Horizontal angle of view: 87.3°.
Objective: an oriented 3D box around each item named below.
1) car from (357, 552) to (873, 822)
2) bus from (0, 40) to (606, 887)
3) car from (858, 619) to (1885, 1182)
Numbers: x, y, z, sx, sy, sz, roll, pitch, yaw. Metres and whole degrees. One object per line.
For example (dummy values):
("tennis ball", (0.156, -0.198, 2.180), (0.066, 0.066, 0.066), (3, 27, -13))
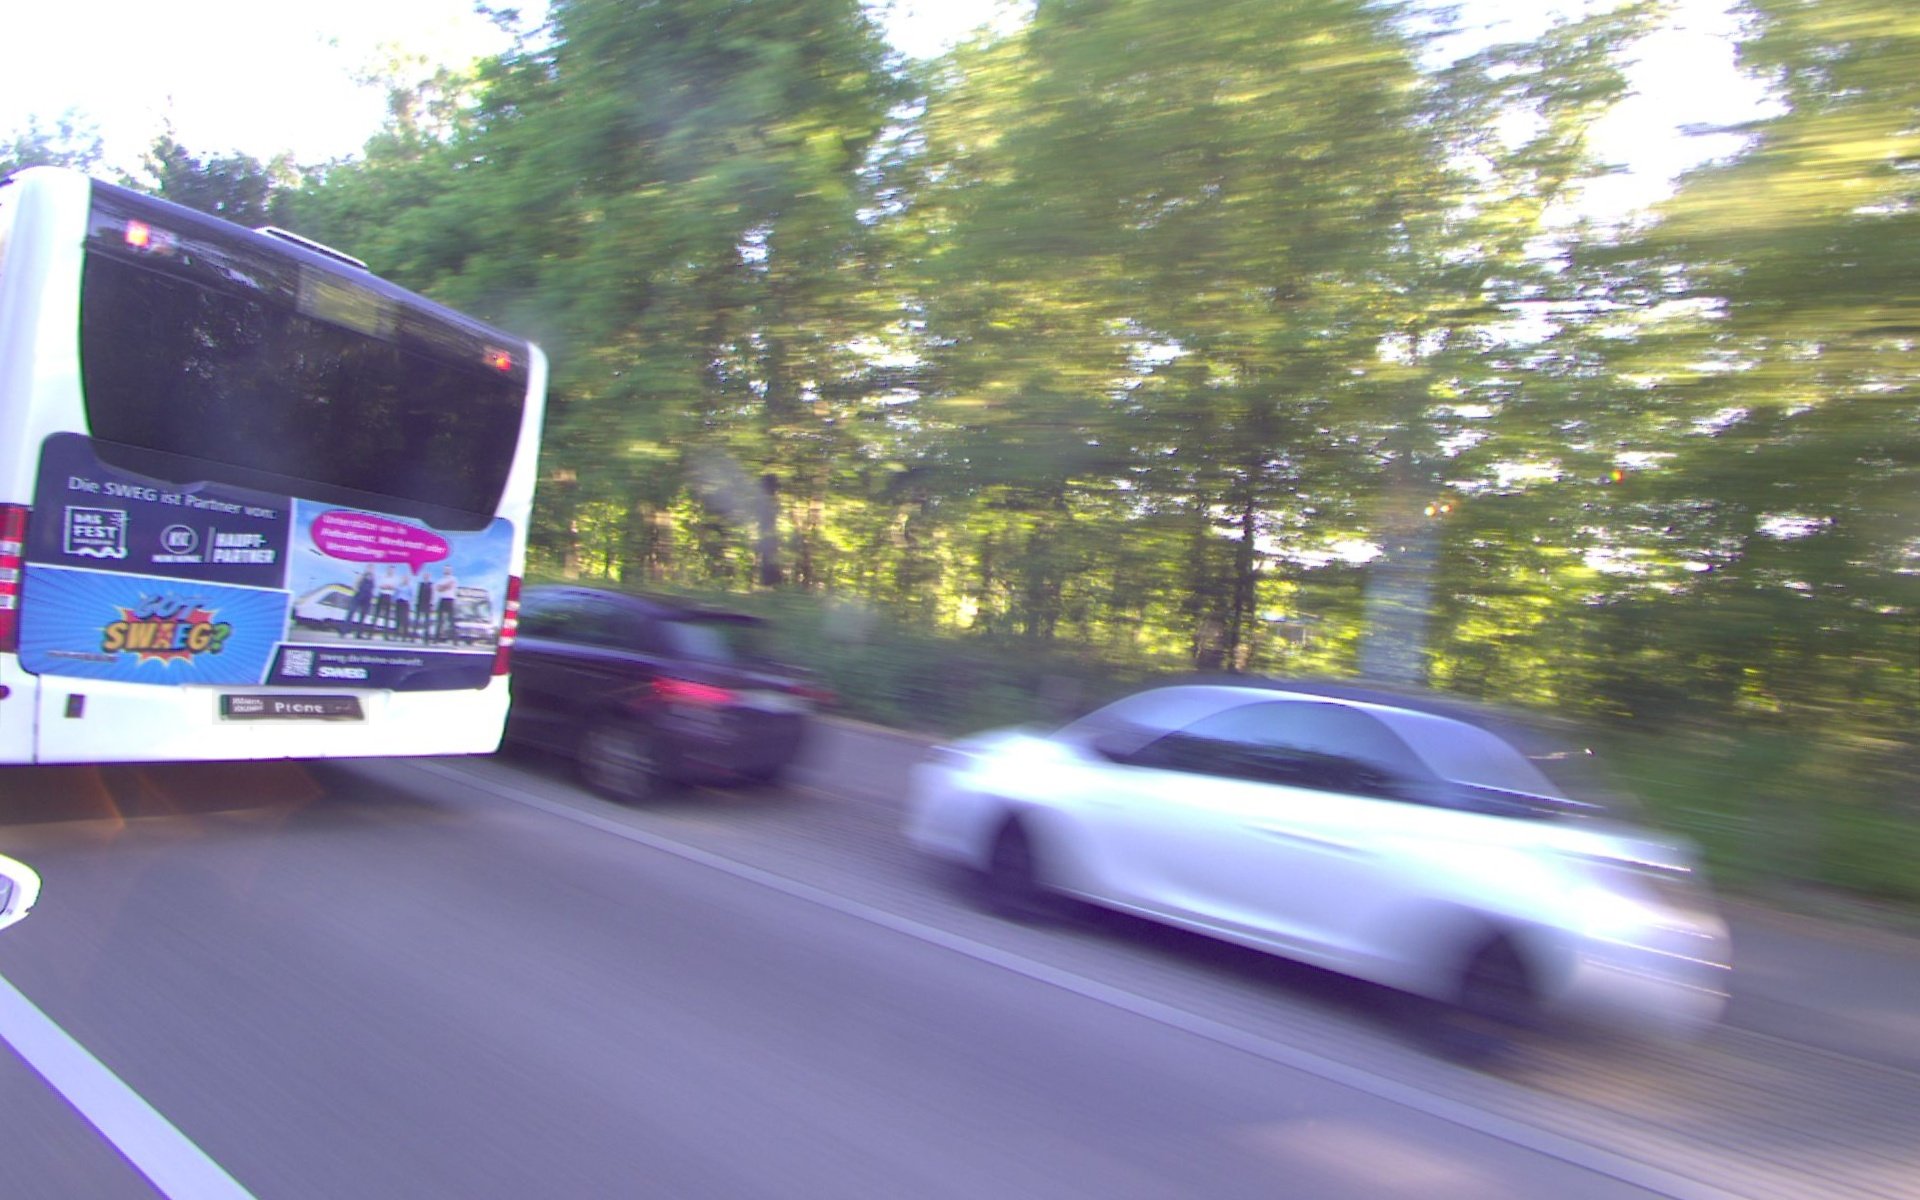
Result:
("car", (-2.839, 0.568, 8.085), (3.880, 1.409, 1.738), (7, 0, 31))
("bus", (-8.116, -0.970, 8.175), (12.076, 3.261, 2.708), (7, -1, 32))
("car", (1.746, 1.083, 5.327), (4.212, 1.475, 1.853), (7, 2, 32))
